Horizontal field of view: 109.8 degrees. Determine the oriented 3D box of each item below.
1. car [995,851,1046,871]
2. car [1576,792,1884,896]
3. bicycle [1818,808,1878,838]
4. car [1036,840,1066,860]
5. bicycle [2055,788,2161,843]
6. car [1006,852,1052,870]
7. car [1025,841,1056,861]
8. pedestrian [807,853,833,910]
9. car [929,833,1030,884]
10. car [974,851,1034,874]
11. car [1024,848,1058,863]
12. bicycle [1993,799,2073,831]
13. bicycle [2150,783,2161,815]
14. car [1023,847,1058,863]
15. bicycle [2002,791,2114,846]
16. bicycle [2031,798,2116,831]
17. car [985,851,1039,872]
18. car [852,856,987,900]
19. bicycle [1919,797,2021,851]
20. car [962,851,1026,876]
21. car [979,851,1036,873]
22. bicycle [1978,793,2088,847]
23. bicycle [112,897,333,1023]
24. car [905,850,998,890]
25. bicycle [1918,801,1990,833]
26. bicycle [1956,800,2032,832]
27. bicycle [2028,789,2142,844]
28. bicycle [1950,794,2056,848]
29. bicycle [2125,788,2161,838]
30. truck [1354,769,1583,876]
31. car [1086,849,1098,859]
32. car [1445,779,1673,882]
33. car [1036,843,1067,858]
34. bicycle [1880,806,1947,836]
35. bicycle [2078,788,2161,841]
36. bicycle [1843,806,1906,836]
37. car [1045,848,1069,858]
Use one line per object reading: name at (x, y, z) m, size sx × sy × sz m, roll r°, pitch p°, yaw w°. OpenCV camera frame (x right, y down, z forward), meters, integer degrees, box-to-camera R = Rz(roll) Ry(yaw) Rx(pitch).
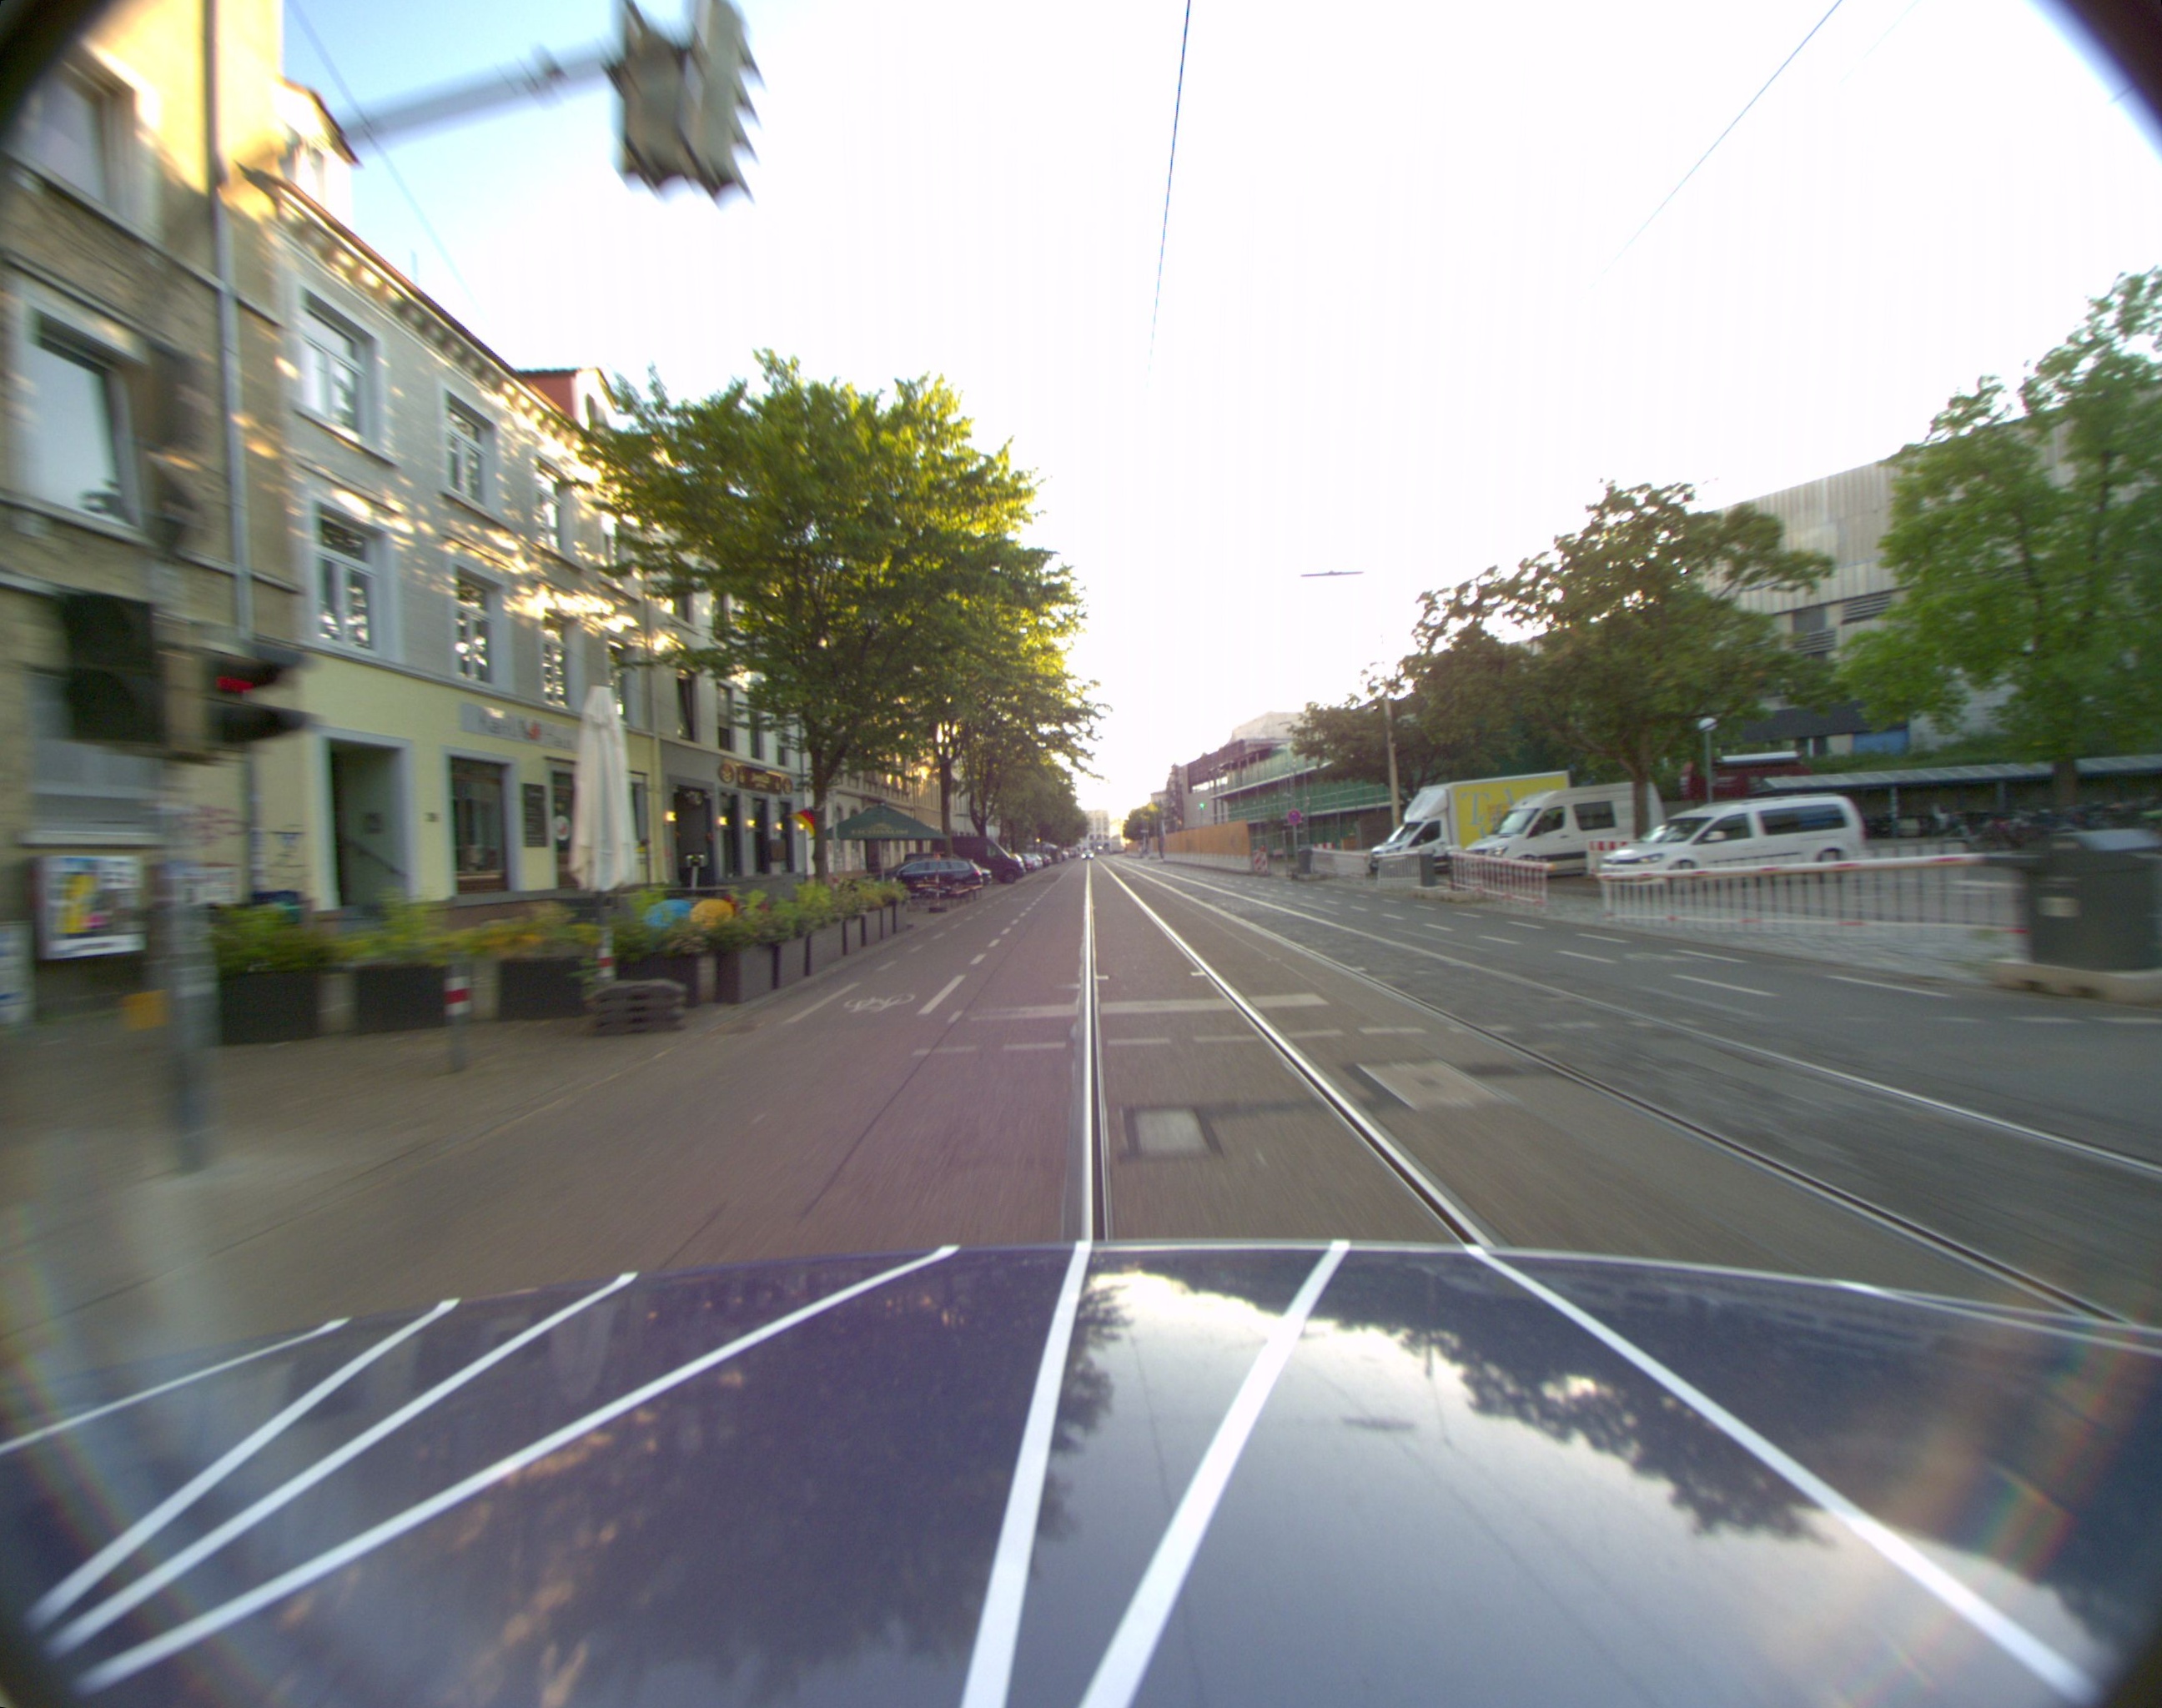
car at (-5.057, 0.603, 63.488) m, size 3.997 × 1.566 × 1.720 m, roll -1°, pitch 0°, yaw -14°
car at (13.879, -0.201, 16.505) m, size 4.844 × 1.862 × 2.015 m, roll -3°, pitch 0°, yaw 2°
bicycle at (32.594, -1.313, 32.342) m, size 0.811 × 1.175 × 2.267 m, roll -3°, pitch 0°, yaw 17°
car at (-4.234, -0.587, 107.799) m, size 3.997 × 2.811 × 1.720 m, roll -1°, pitch 0°, yaw -14°
bicycle at (27.549, -0.999, 20.327) m, size 0.542 × 1.361 × 1.977 m, roll -3°, pitch 1°, yaw 5°
car at (-4.876, 0.677, 70.461) m, size 3.997 × 1.566 × 1.720 m, roll -1°, pitch 0°, yaw -14°
car at (-5.386, -0.418, 101.888) m, size 3.991 × 2.551 × 1.722 m, roll -1°, pitch 0°, yaw 1°
pedestrian at (-8.052, 0.847, 23.483) m, size 0.498 × 1.742 × 0.646 m, roll -1°, pitch 1°, yaw 5°
car at (-5.553, 0.213, 41.475) m, size 5.235 × 2.605 × 1.925 m, roll -1°, pitch 1°, yaw -16°
car at (-5.478, 0.597, 54.235) m, size 3.991 × 1.566 × 1.722 m, roll -1°, pitch 0°, yaw 2°
car at (-5.007, 0.227, 95.795) m, size 3.997 × 1.760 × 1.720 m, roll -1°, pitch 0°, yaw -14°
bicycle at (37.538, -1.517, 30.019) m, size 0.811 × 1.175 × 2.267 m, roll -3°, pitch 0°, yaw 17°
bicycle at (41.216, -2.103, 28.032) m, size 0.811 × 1.175 × 2.267 m, roll -3°, pitch 0°, yaw 17°
car at (-4.958, 0.136, 92.121) m, size 3.997 × 1.829 × 1.720 m, roll -1°, pitch 0°, yaw -14°
bicycle at (26.204, -0.921, 20.428) m, size 0.542 × 1.361 × 1.977 m, roll -3°, pitch 1°, yaw 5°
bicycle at (38.365, -1.508, 29.409) m, size 0.811 × 1.175 × 2.267 m, roll -3°, pitch 0°, yaw 17°
car at (-5.427, 0.592, 59.450) m, size 3.996 × 1.566 × 1.720 m, roll -1°, pitch 0°, yaw -11°
car at (-6.041, 0.861, 28.561) m, size 4.642 × 1.508 × 1.807 m, roll -1°, pitch 0°, yaw -26°
bicycle at (24.117, -0.791, 20.665) m, size 0.542 × 1.361 × 1.977 m, roll -3°, pitch 1°, yaw 5°
car at (-5.716, 0.616, 50.356) m, size 3.991 × 1.589 × 1.722 m, roll -1°, pitch 0°, yaw 2°
car at (-5.490, 0.628, 57.145) m, size 3.991 × 1.566 × 1.722 m, roll -1°, pitch 0°, yaw 2°
bicycle at (25.597, -0.882, 20.484) m, size 0.542 × 1.361 × 1.977 m, roll -3°, pitch 1°, yaw 5°
bicycle at (-9.937, 1.171, 8.909) m, size 0.471 × 1.203 × 1.783 m, roll -3°, pitch 1°, yaw 1°
car at (-5.932, 0.723, 35.064) m, size 3.992 × 1.689 × 1.722 m, roll -1°, pitch 0°, yaw -1°
bicycle at (35.479, -1.486, 30.926) m, size 0.811 × 1.175 × 2.267 m, roll -3°, pitch 0°, yaw 17°
bicycle at (36.590, -1.490, 30.505) m, size 0.811 × 1.175 × 2.267 m, roll -3°, pitch 0°, yaw 17°
bicycle at (26.892, -0.965, 20.410) m, size 0.542 × 1.361 × 1.977 m, roll -3°, pitch 1°, yaw 5°
bicycle at (24.841, -0.850, 20.538) m, size 0.542 × 1.361 × 1.977 m, roll -3°, pitch 1°, yaw 5°
bicycle at (29.758, -1.123, 20.489) m, size 0.542 × 1.361 × 1.977 m, roll -3°, pitch 1°, yaw 5°
truck at (14.178, -1.112, 28.135) m, size 7.077 × 3.408 × 2.565 m, roll -3°, pitch 0°, yaw -3°
car at (1.865, 0.022, 129.508) m, size 1.998 × 1.674 × 4.000 m, roll -3°, pitch 0°, yaw 1°
car at (13.842, -0.671, 22.226) m, size 5.233 × 2.582 × 2.229 m, roll -3°, pitch 0°, yaw -3°
car at (-4.073, -0.462, 105.150) m, size 3.997 × 1.952 × 1.720 m, roll -1°, pitch 0°, yaw -14°
bicycle at (34.500, -1.343, 31.526) m, size 0.811 × 1.175 × 2.267 m, roll -3°, pitch 0°, yaw 17°
bicycle at (28.234, -1.042, 20.349) m, size 0.542 × 1.361 × 1.977 m, roll -3°, pitch 1°, yaw 5°
bicycle at (33.455, -1.357, 32.093) m, size 0.811 × 1.175 × 2.267 m, roll -3°, pitch 0°, yaw 17°
car at (-4.172, -0.184, 130.756) m, size 3.991 × 1.681 × 1.722 m, roll -1°, pitch 0°, yaw 1°
